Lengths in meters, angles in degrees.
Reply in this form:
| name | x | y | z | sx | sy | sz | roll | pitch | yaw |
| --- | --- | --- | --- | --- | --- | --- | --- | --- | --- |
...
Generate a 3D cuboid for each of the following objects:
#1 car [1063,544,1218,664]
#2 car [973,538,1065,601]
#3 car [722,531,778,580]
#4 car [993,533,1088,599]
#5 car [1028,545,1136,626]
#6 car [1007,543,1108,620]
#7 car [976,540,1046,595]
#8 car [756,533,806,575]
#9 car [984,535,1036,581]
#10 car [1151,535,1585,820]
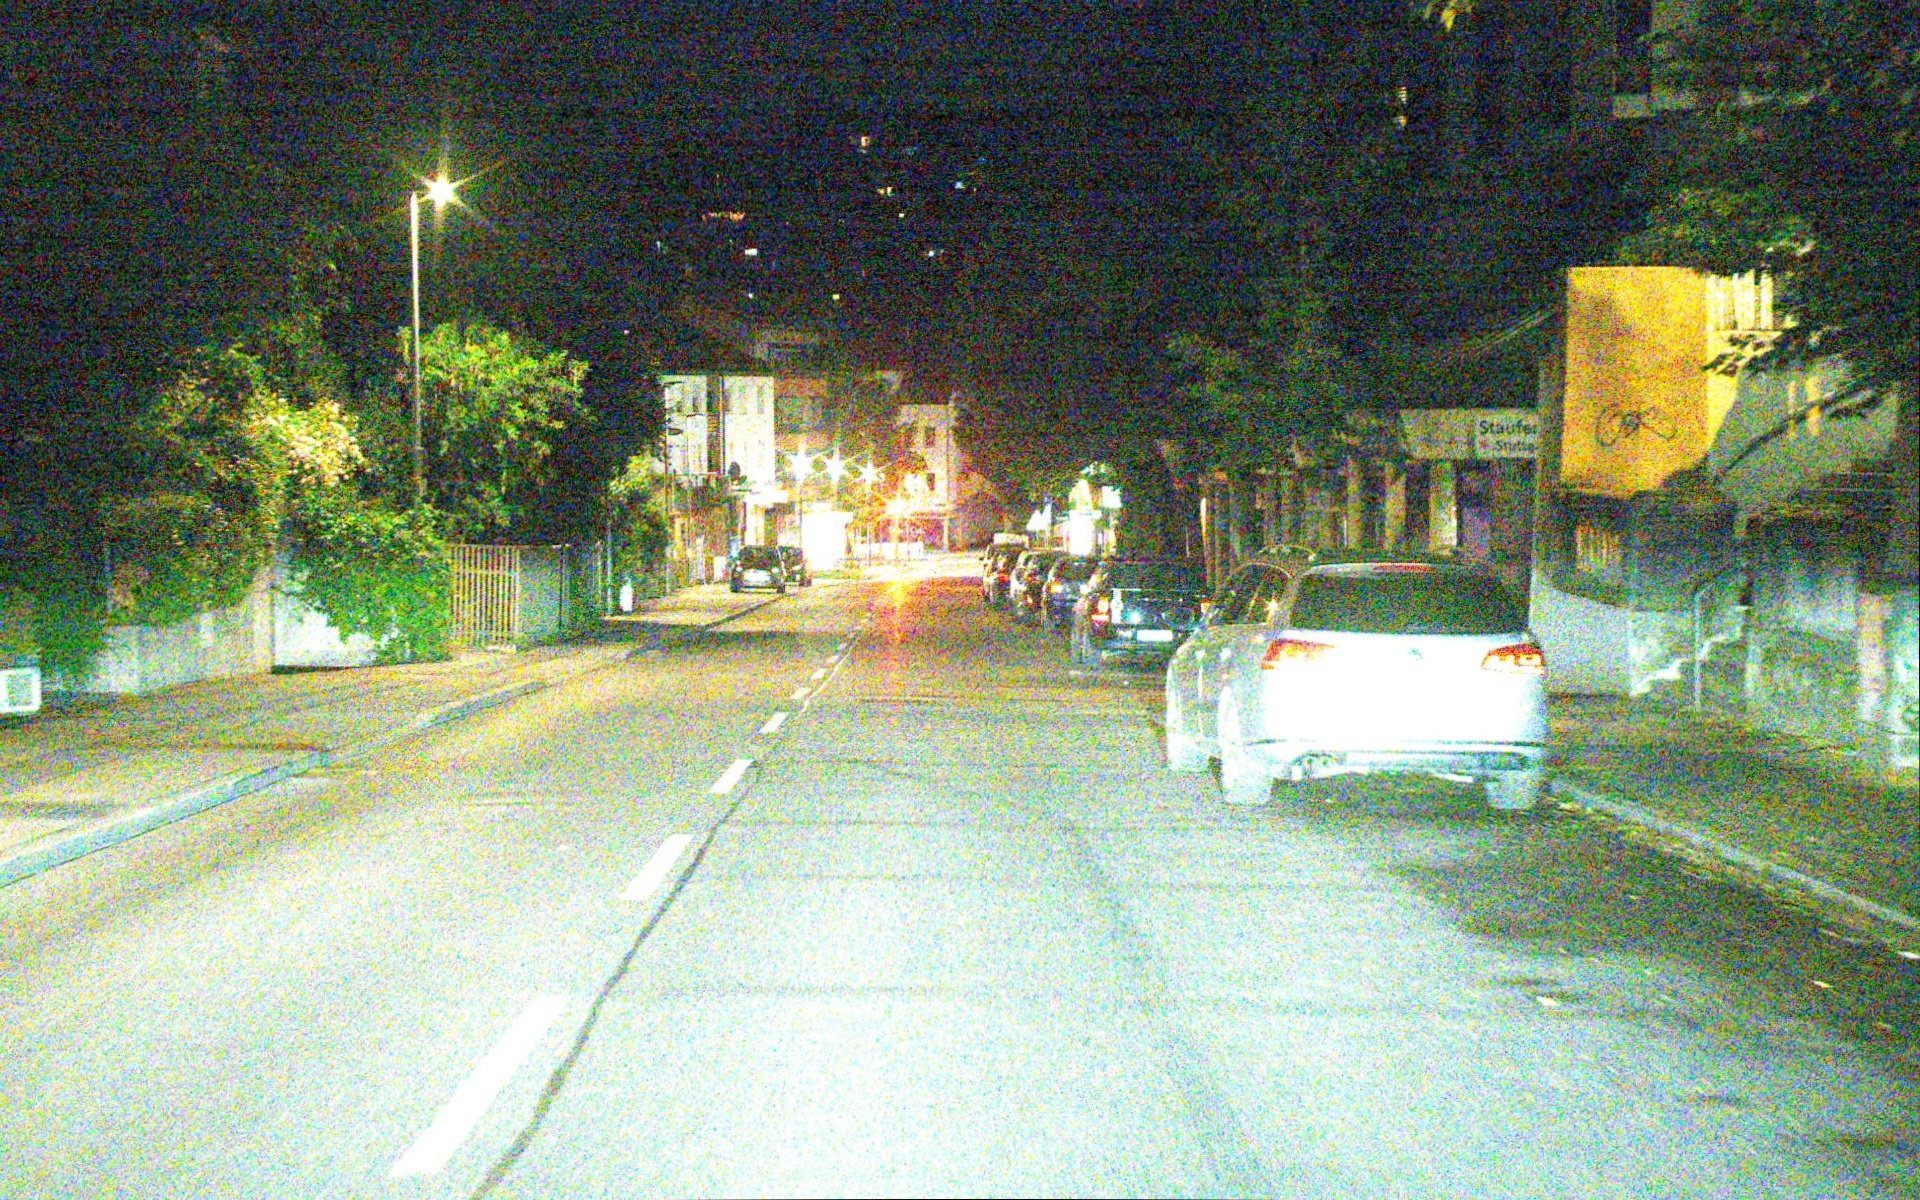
| name | x | y | z | sx | sy | sz | roll | pitch | yaw |
| --- | --- | --- | --- | --- | --- | --- | --- | --- | --- |
| car | 2.263 | 0.020 | 43.884 | 1.629 | 1.434 | 3.865 | 0 | 1 | -2 |
| car | 1.415 | -0.748 | 83.637 | 1.682 | 1.443 | 4.001 | 1 | 1 | -7 |
| car | -6.766 | -1.437 | 110.390 | 1.753 | 1.534 | 3.731 | 0 | 1 | -4 |
| car | 1.833 | -0.798 | 78.993 | 1.682 | 1.443 | 4.001 | 1 | 1 | -6 |
| car | 2.286 | -0.293 | 63.544 | 1.868 | 1.398 | 4.000 | 1 | 1 | 3 |
| car | 1.909 | -0.389 | 68.391 | 1.682 | 1.443 | 4.001 | 1 | 1 | -3 |
| car | 1.388 | -0.922 | 94.814 | 1.682 | 1.443 | 4.001 | 1 | 1 | -2 |
| car | -6.633 | -1.729 | 127.513 | 1.753 | 1.534 | 3.731 | 0 | 1 | -2 |
| car | 1.668 | -1.423 | 115.220 | 1.682 | 1.534 | 4.000 | 0 | 1 | 0 |
| car | 2.323 | 0.382 | 20.675 | 1.763 | 1.470 | 4.277 | 2 | 1 | -4 |
